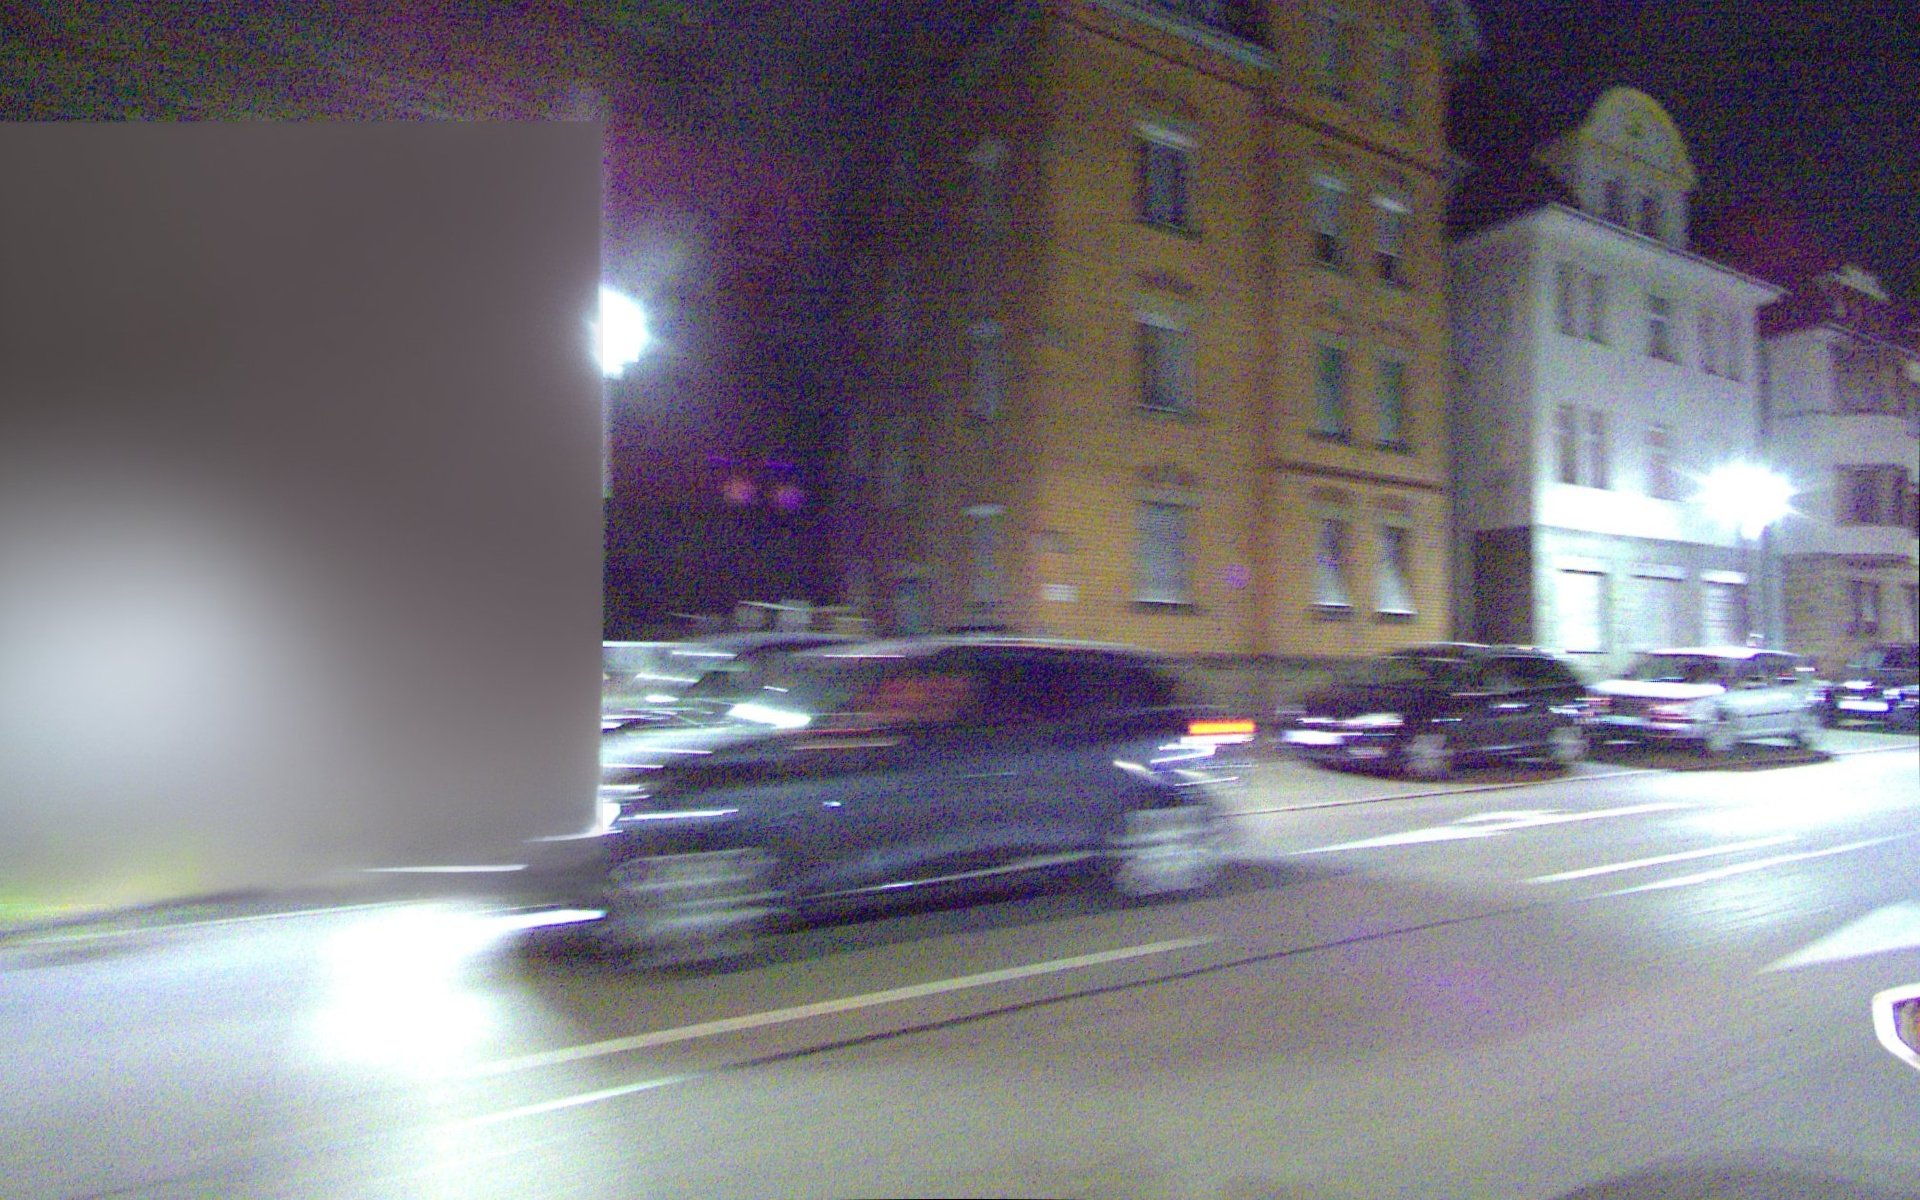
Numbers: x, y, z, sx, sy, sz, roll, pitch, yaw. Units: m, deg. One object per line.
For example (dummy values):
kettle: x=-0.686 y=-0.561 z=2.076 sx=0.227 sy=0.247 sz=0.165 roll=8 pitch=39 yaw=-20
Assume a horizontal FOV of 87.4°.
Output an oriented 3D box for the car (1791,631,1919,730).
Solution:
car: x=17.775 y=1.445 z=18.831 sx=4.354 sy=1.603 sz=1.778 roll=2 pitch=0 yaw=-27

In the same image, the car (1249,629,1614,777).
car: x=5.757 y=1.151 z=12.197 sx=4.273 sy=1.511 sz=1.778 roll=2 pitch=-1 yaw=-27

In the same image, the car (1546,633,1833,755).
car: x=10.726 y=1.296 z=14.758 sx=3.948 sy=1.511 sz=1.778 roll=2 pitch=0 yaw=-26

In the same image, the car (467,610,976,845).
car: x=-1.869 y=0.893 z=8.078 sx=3.648 sy=1.511 sz=1.588 roll=2 pitch=0 yaw=-24

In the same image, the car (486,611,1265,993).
car: x=-0.385 y=0.863 z=5.562 sx=3.951 sy=1.448 sz=1.708 roll=2 pitch=-4 yaw=-29
